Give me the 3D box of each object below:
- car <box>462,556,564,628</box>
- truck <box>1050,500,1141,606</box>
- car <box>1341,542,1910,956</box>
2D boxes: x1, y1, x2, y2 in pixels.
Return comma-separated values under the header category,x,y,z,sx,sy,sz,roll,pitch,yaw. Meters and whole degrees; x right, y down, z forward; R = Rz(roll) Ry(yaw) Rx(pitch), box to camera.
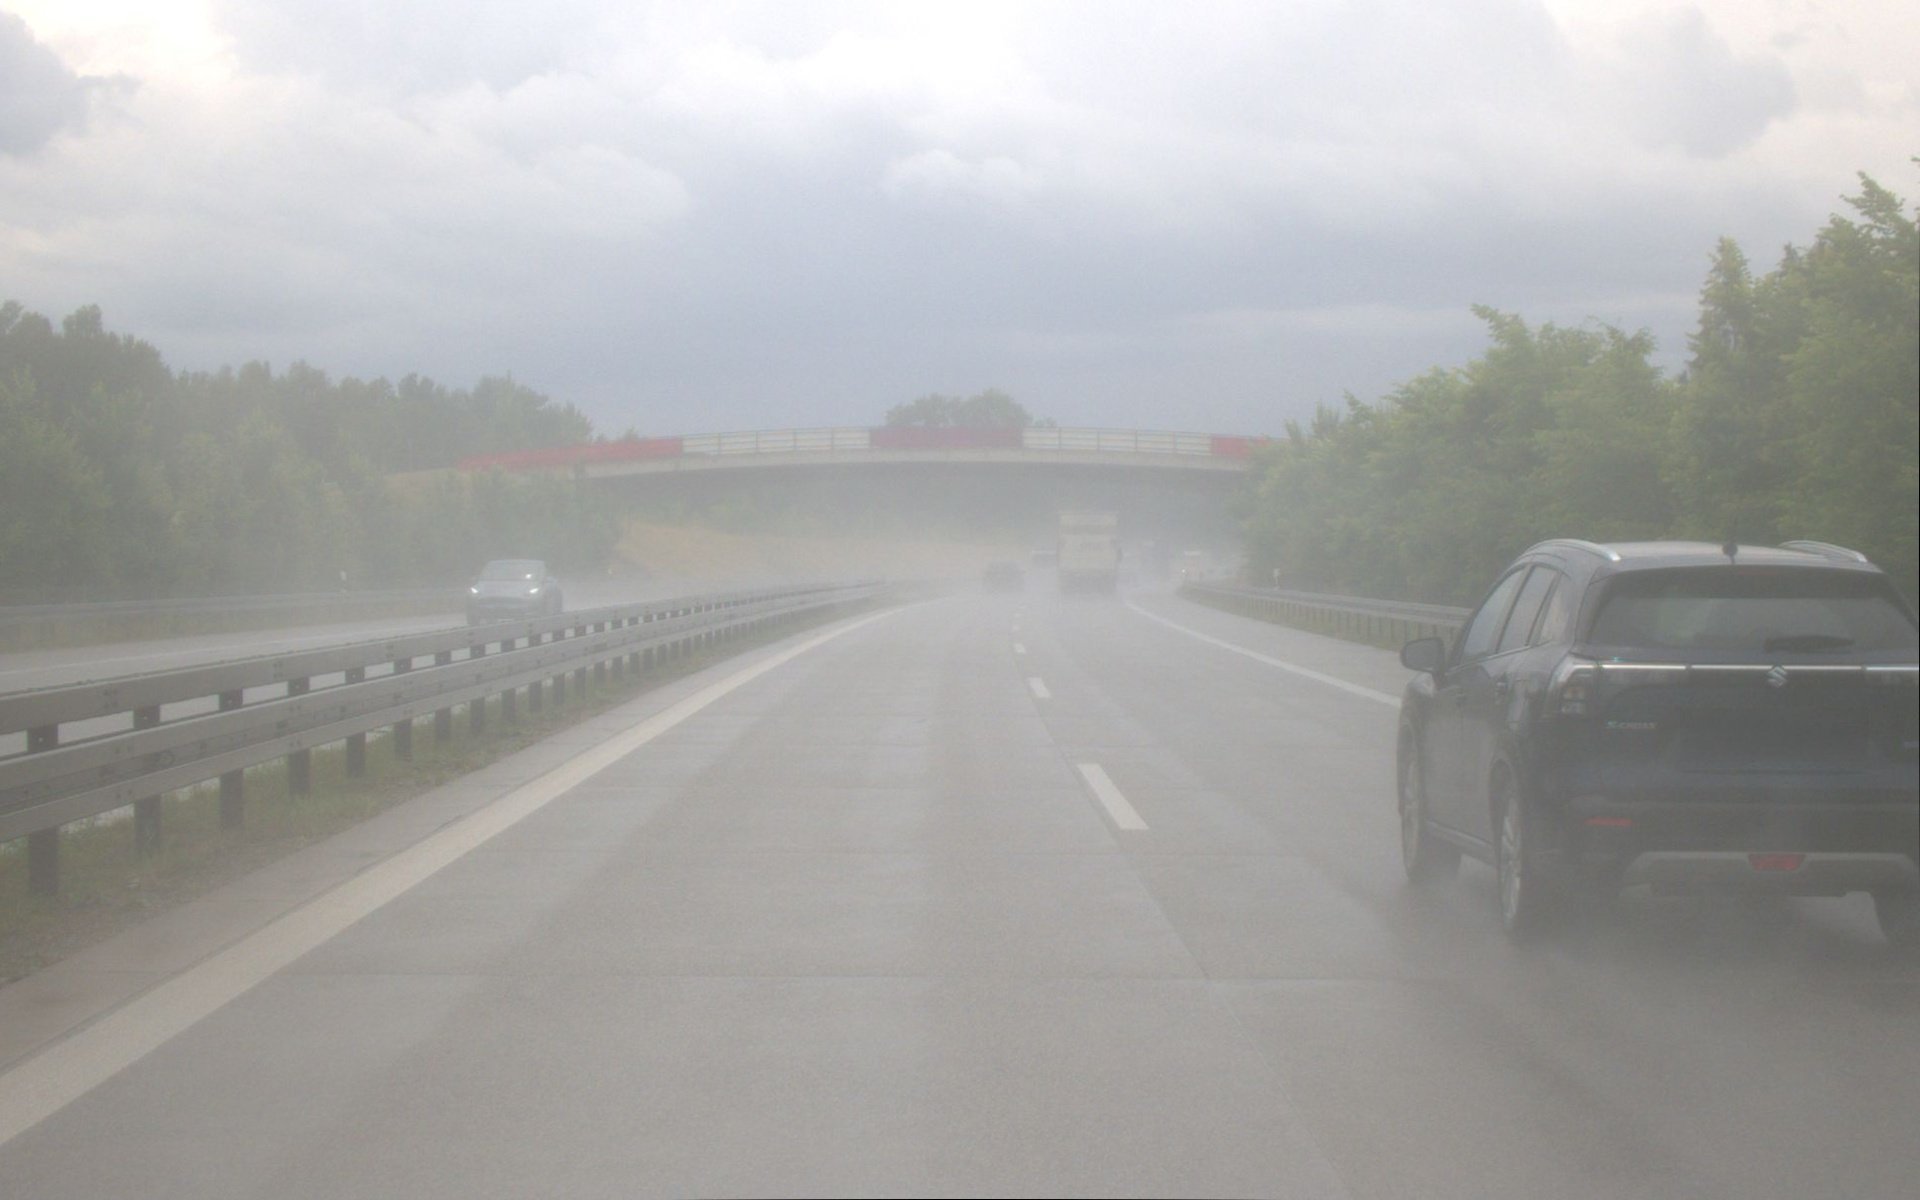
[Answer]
category,x,y,z,sx,sy,sz,roll,pitch,yaw
car,-11.095,-0.213,85.523,1.993,1.577,4.001,-2,2,0
truck,5.916,-2.062,148.579,3.244,4.422,8.244,0,1,7
car,2.768,0.552,15.090,1.894,1.570,3.631,1,1,2
